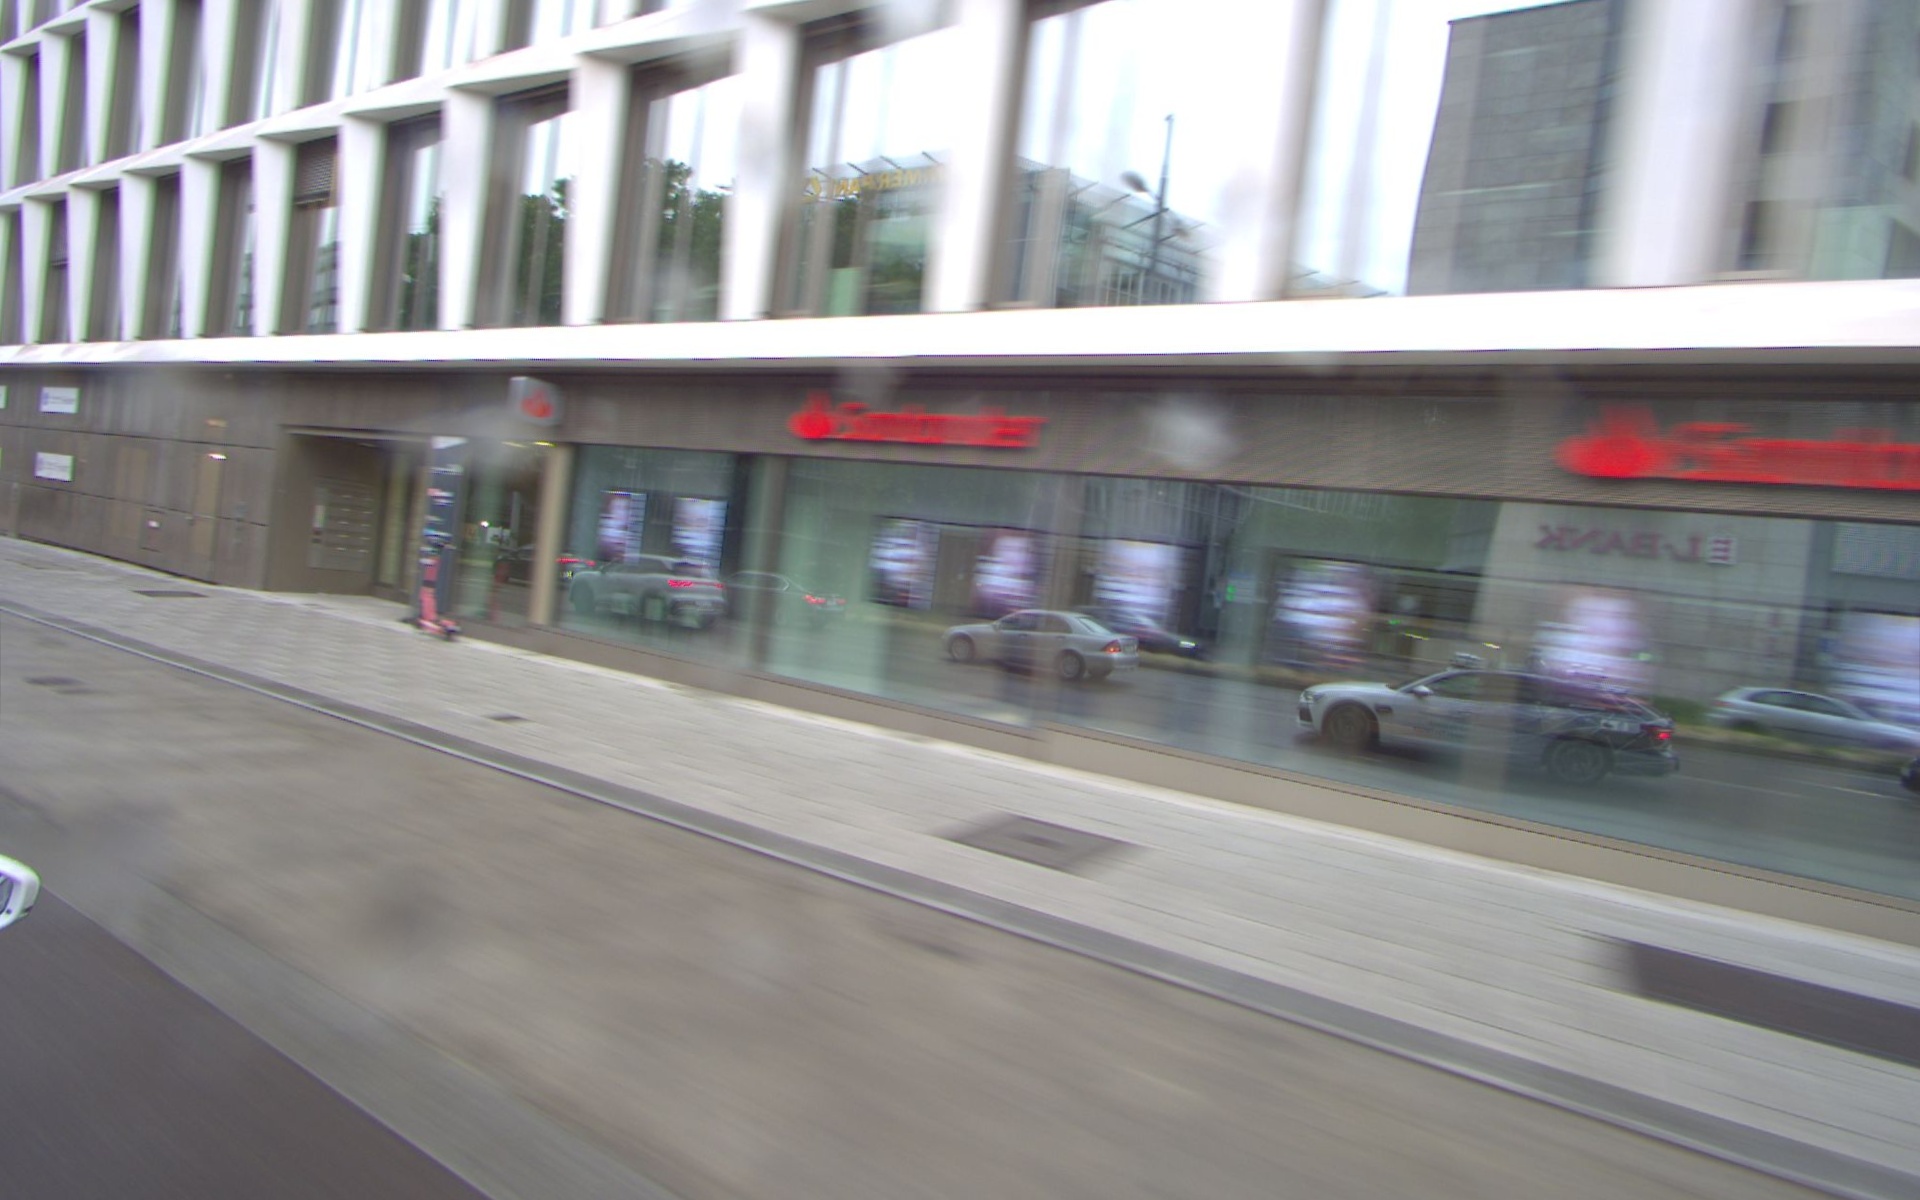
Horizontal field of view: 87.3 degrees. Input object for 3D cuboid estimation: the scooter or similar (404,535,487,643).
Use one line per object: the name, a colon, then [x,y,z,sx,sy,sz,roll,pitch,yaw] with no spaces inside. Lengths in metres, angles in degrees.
scooter or similar: [-6.543,-0.151,12.785,1.172,1.251,0.411,7,1,40]
